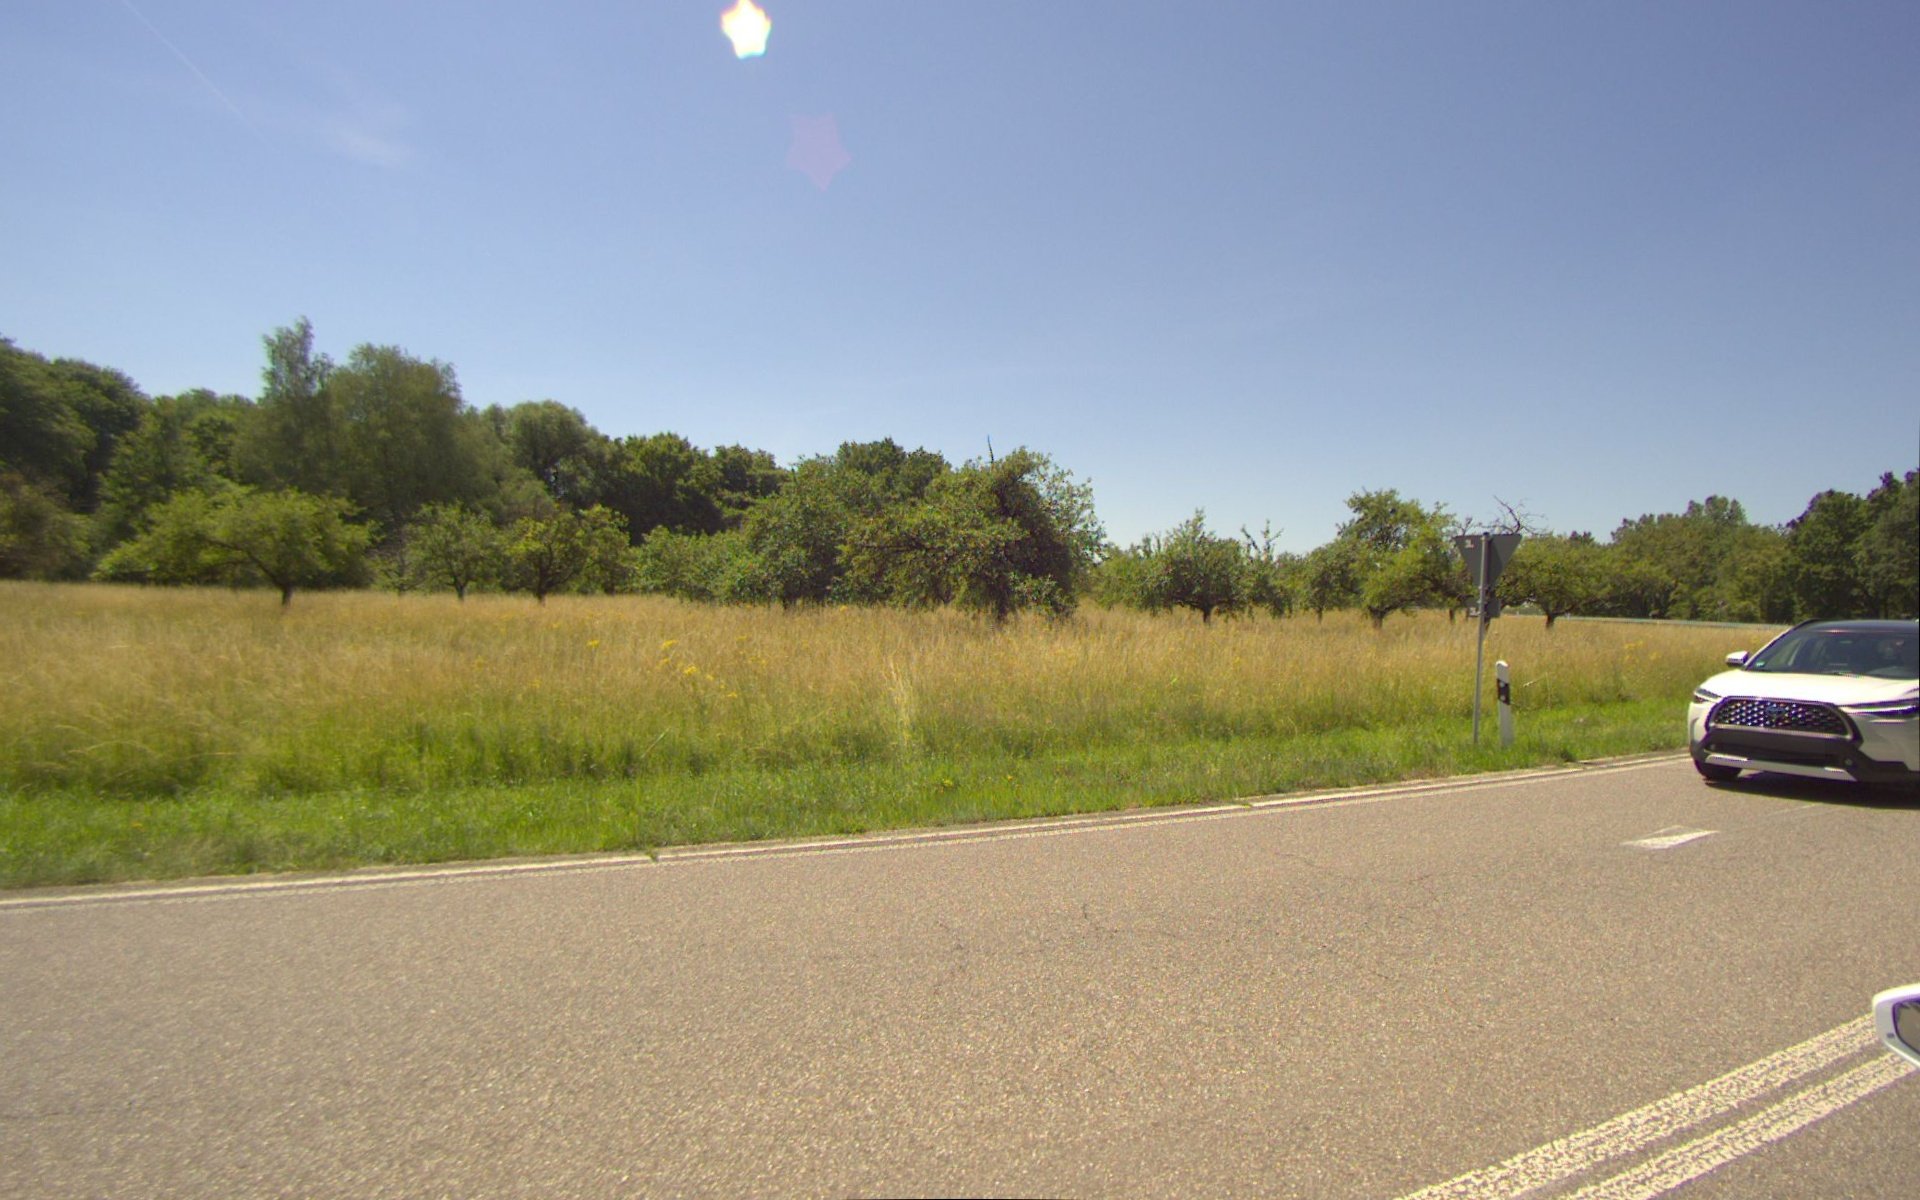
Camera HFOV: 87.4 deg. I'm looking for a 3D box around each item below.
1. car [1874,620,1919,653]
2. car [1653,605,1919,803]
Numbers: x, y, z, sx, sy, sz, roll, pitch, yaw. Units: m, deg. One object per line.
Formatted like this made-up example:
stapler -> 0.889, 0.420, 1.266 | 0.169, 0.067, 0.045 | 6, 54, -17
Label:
car -> 45.324, 1.776, 47.743 | 1.795, 1.477, 4.394 | -2, -4, 29
car -> 8.989, 0.961, 10.082 | 4.171, 1.611, 1.813 | 2, -4, -32
